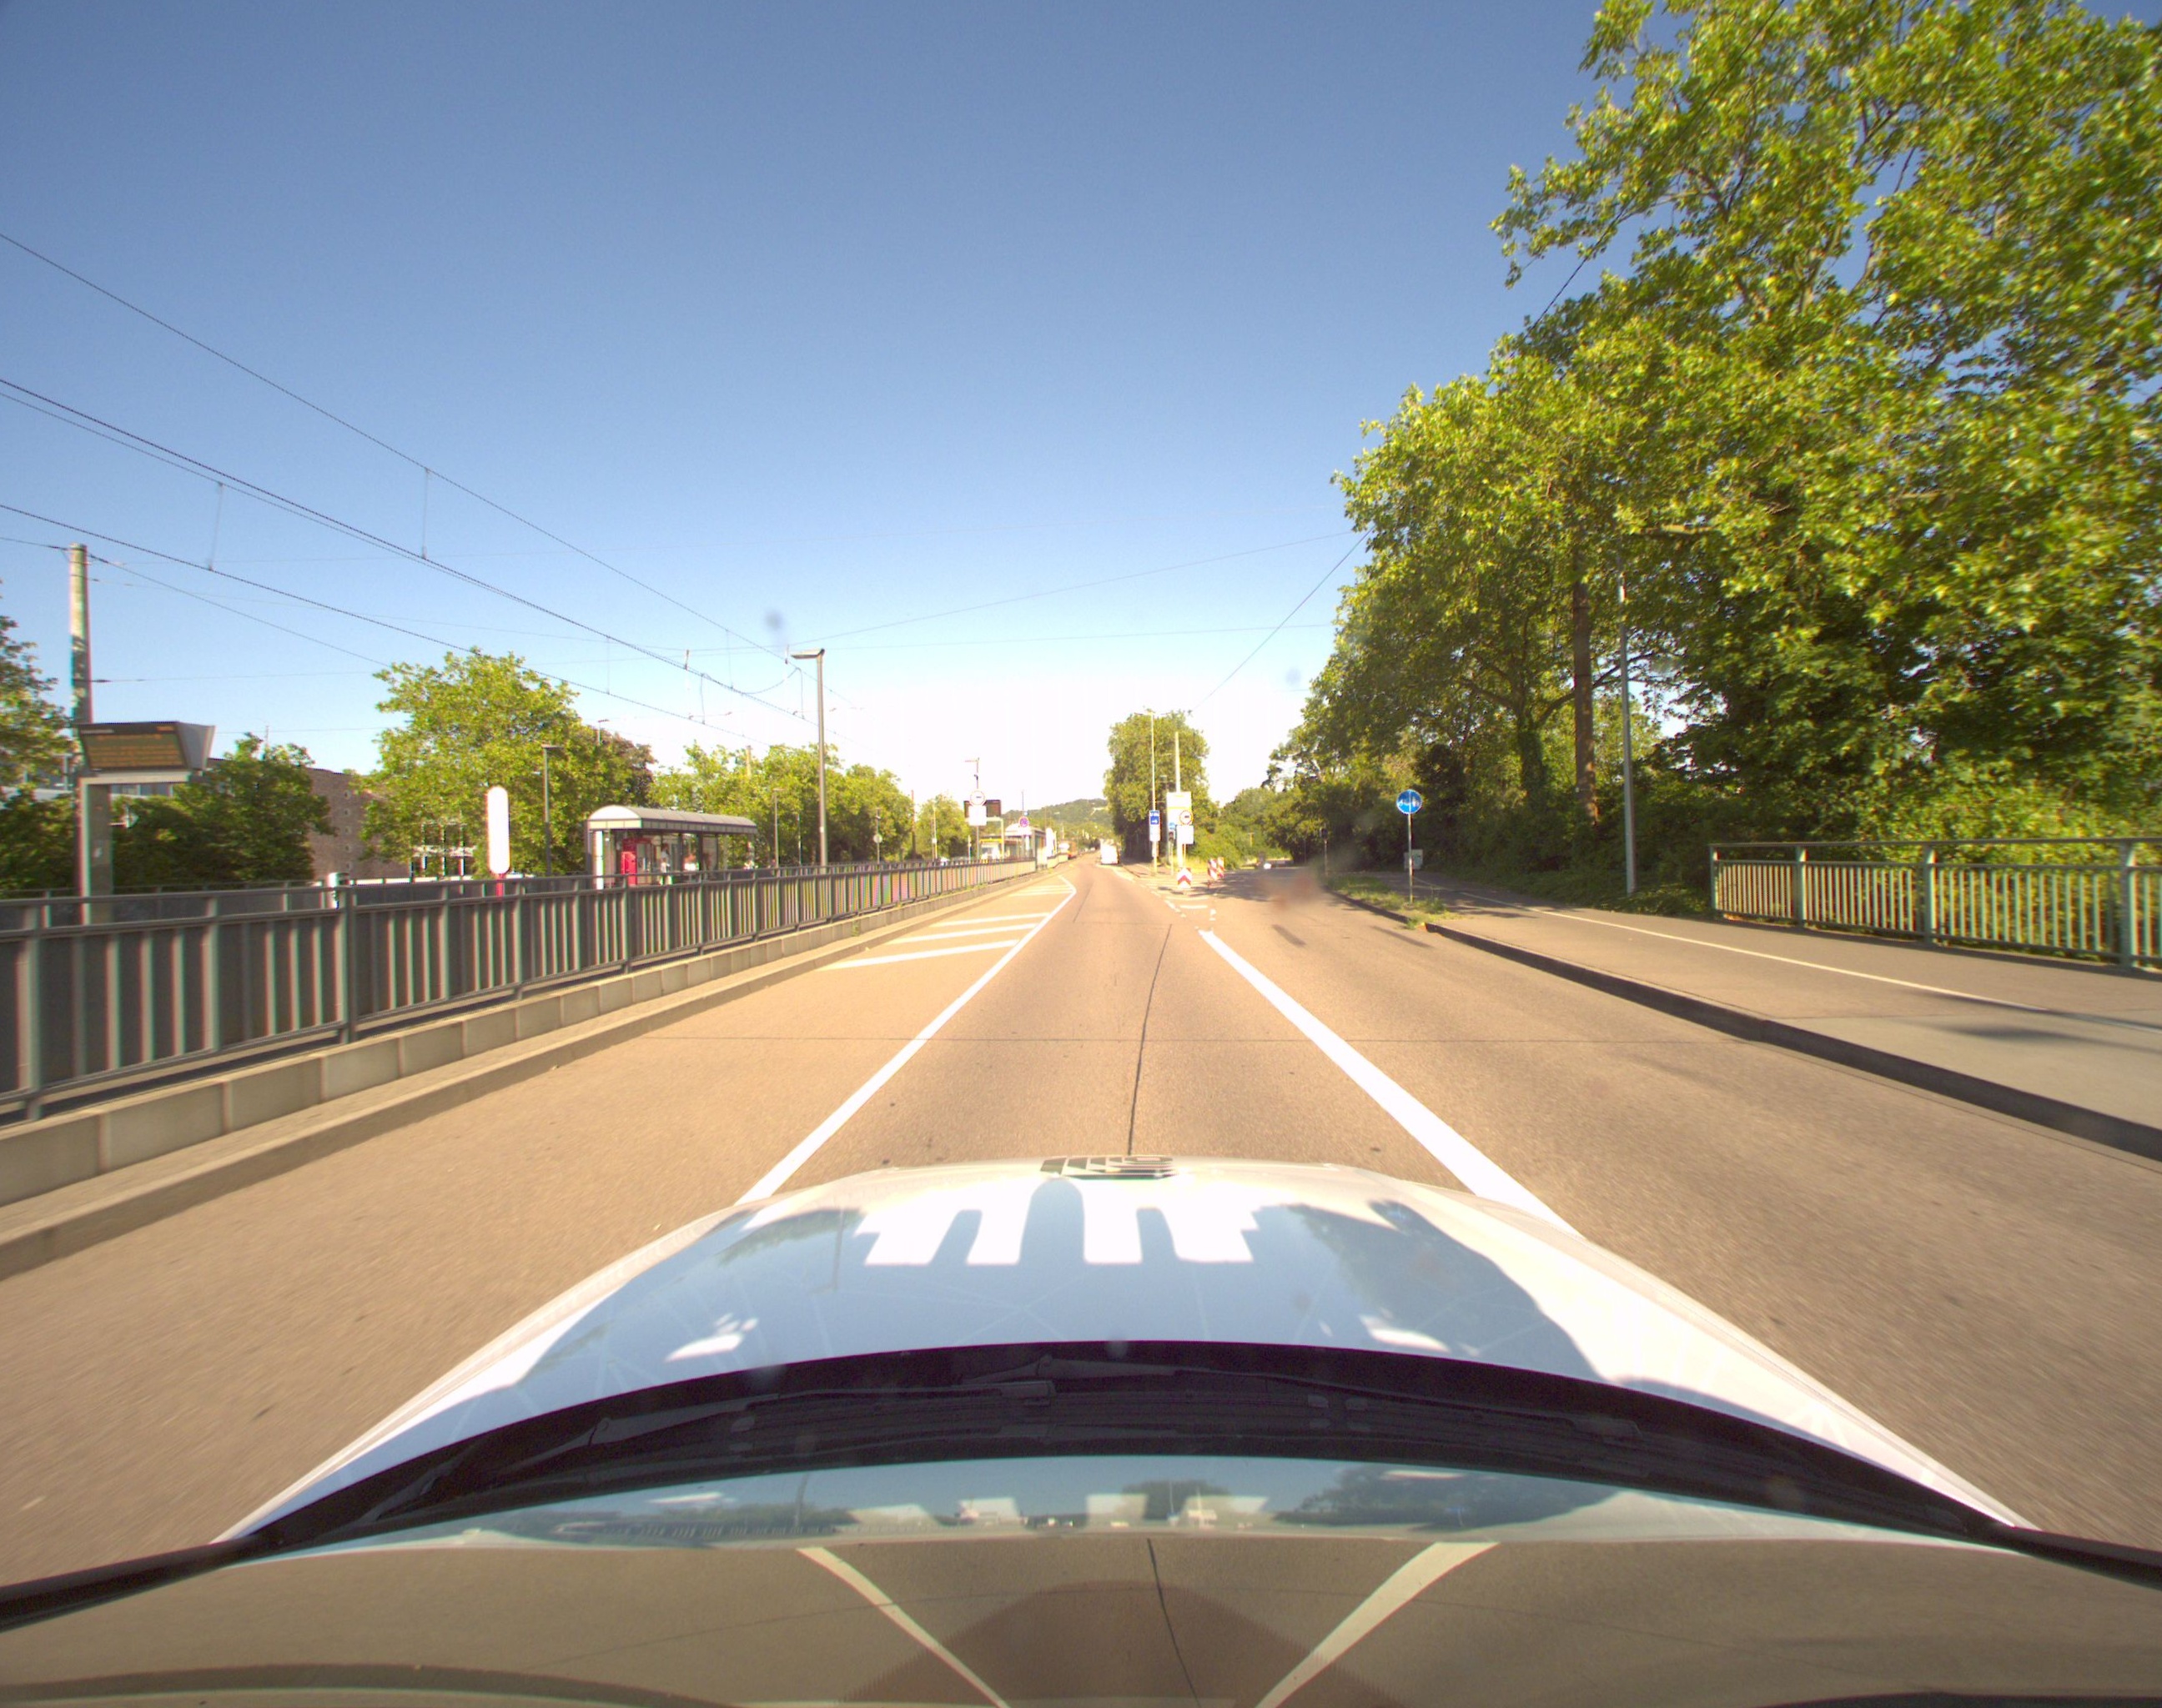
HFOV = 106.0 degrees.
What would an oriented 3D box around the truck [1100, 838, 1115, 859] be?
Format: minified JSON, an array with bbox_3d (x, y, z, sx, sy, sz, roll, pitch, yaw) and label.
[{"bbox_3d":[5.007,-1.049,154.688,2.732,3.783,10.092,0,0,1],"label":"truck"}]

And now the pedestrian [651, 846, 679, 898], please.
[{"bbox_3d":[-14.341,0.601,28.067,0.692,1.757,0.592,-1,-1,38],"label":"pedestrian"}]

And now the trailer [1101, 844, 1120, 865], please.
[{"bbox_3d":[3.918,0.064,106.923,2.241,2.694,5.954,-1,0,4],"label":"trailer"}]

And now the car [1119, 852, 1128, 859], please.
[{"bbox_3d":[8.183,0.290,156.113,1.646,1.437,3.780,-1,0,3],"label":"car"}]

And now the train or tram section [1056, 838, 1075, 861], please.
[{"bbox_3d":[-2.912,-0.942,155.930,2.711,4.091,13.621,-2,0,2],"label":"train or tram section"}]

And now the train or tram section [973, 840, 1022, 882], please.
[{"bbox_3d":[-8.651,0.695,86.790,2.816,4.006,15.885,0,0,3],"label":"train or tram section"}]
